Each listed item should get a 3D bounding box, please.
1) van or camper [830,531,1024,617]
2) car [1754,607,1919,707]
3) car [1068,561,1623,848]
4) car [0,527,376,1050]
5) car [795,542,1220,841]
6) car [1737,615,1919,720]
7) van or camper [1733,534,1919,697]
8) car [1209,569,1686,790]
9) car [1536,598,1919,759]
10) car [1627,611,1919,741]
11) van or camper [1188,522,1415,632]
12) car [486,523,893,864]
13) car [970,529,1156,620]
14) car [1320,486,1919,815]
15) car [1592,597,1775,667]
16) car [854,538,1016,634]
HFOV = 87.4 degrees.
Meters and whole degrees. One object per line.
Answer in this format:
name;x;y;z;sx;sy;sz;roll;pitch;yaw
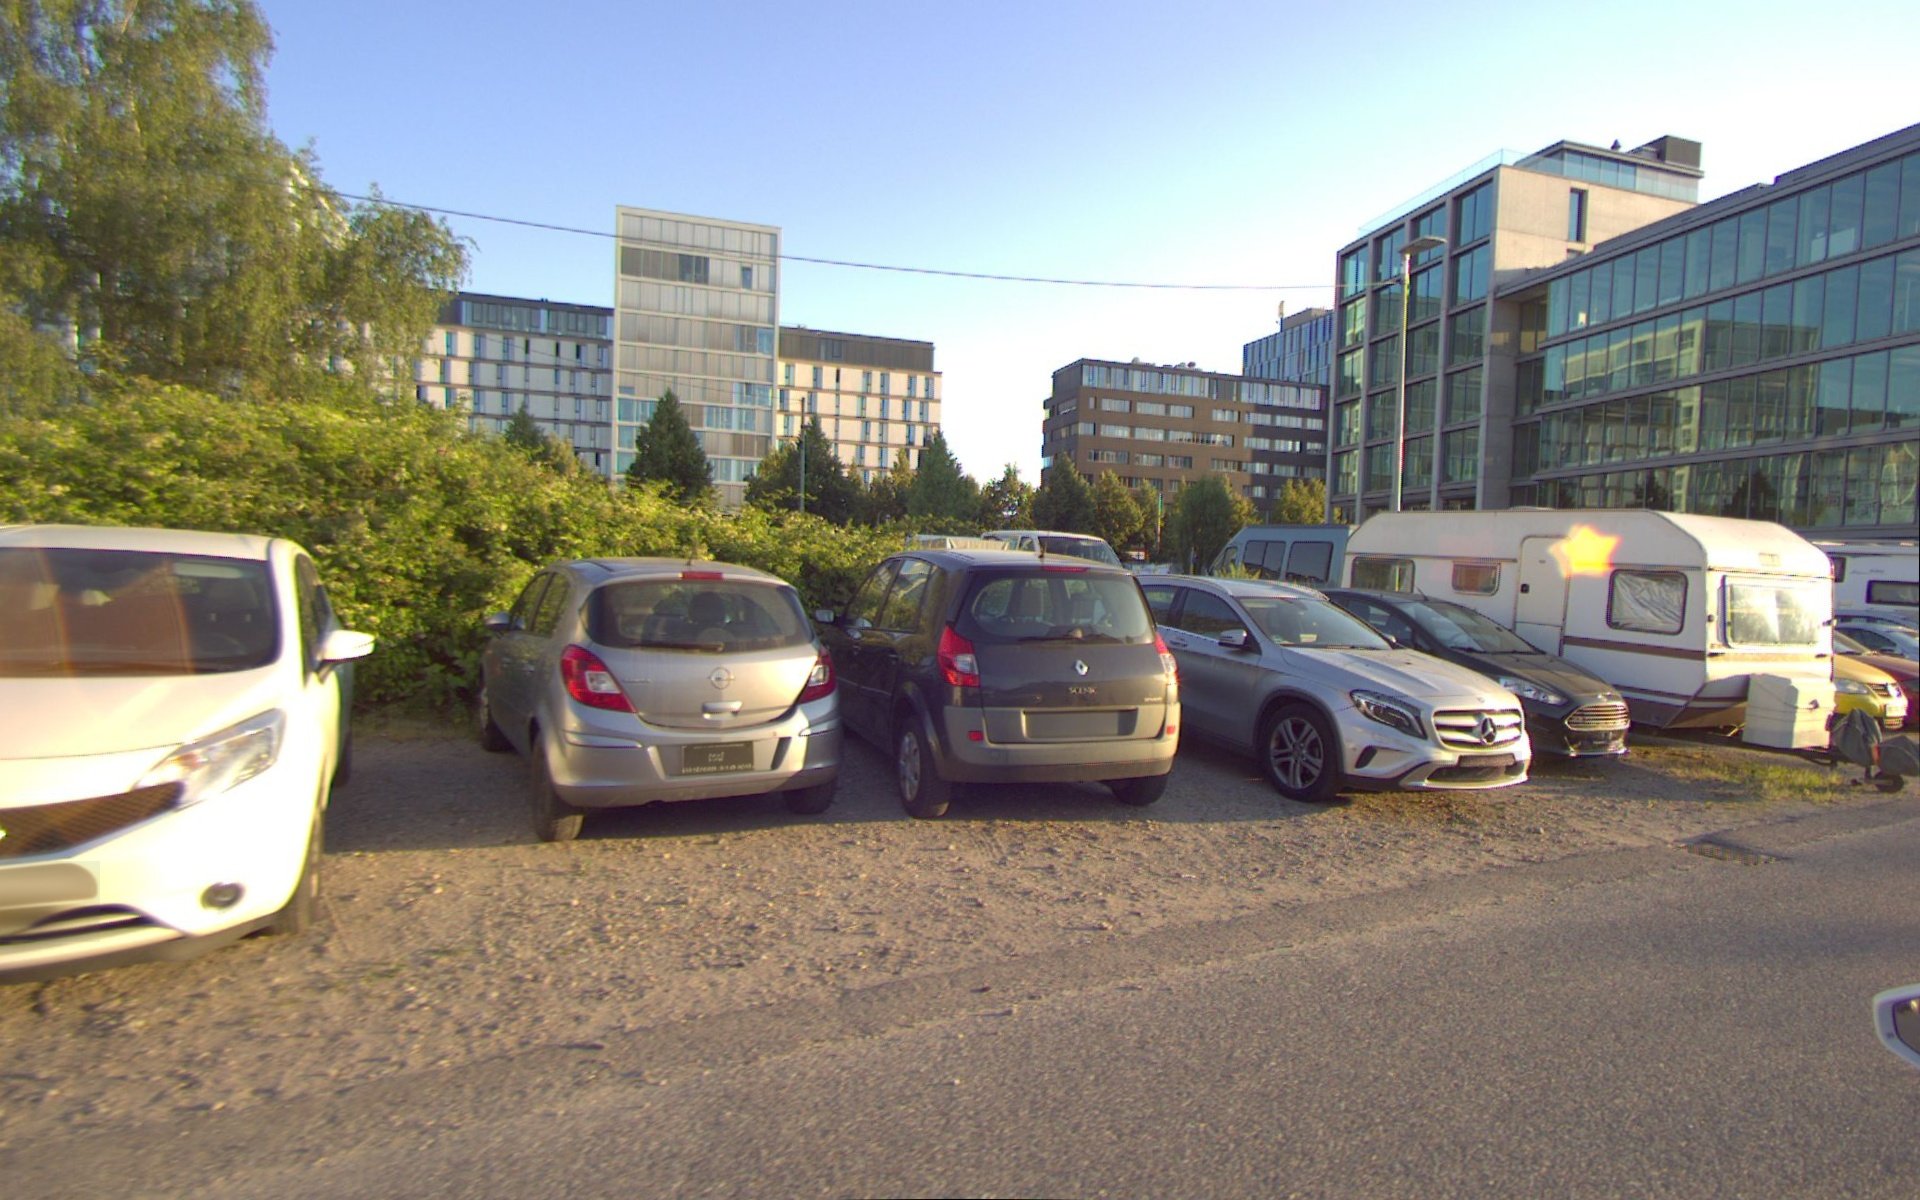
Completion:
van or camper;-1.153;-0.908;35.754;6.541;2.726;2.011;2;3;-21
car;16.222;0.991;17.296;1.672;1.496;3.587;1;3;-29
car;2.805;0.599;8.336;1.726;1.612;4.108;2;3;-28
car;-3.772;0.462;4.586;1.768;1.527;3.908;2;2;-29
car;0.033;0.432;7.536;1.722;1.612;3.918;1;2;-21
car;14.311;1.043;15.077;1.671;1.346;3.794;1;3;-26
van or camper;18.556;0.328;18.261;2.375;2.937;6.722;1;2;-24
car;4.625;0.608;10.251;1.725;1.612;4.111;2;3;-26
car;9.671;0.862;12.834;1.684;1.539;3.613;1;3;-28
car;11.921;0.983;14.229;1.684;1.385;3.710;1;3;-28
van or camper;6.625;-0.509;20.047;1.904;1.916;4.329;1;3;-21
car;-2.111;0.392;6.866;1.727;1.612;3.907;3;1;-29
car;1.819;-0.529;19.342;1.951;1.496;4.363;2;3;-17
car;7.046;0.245;10.998;2.378;2.568;5.872;1;3;-23
car;18.036;0.757;25.221;1.491;1.467;3.434;1;3;-19
car;-0.547;-0.307;17.790;1.642;1.496;3.595;1;3;-23
